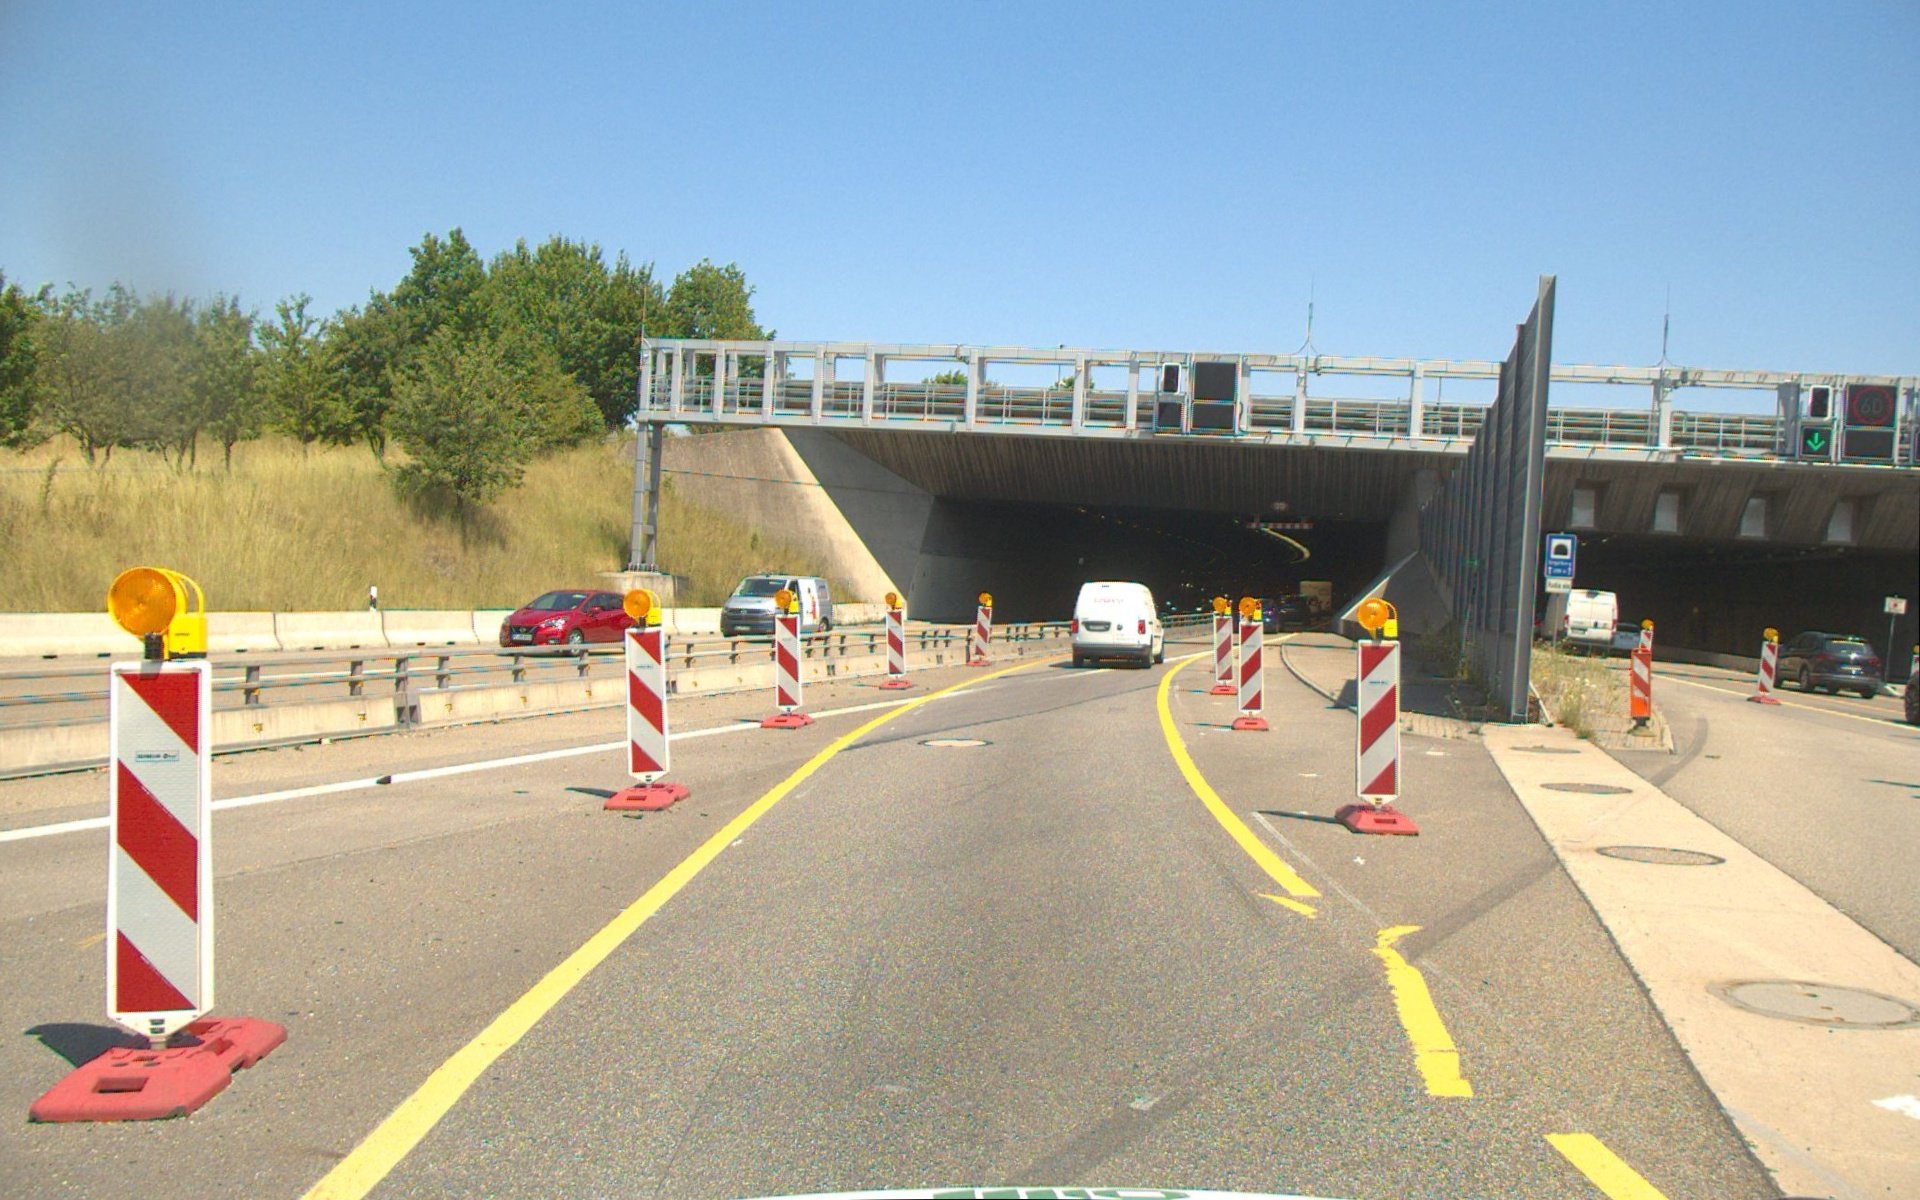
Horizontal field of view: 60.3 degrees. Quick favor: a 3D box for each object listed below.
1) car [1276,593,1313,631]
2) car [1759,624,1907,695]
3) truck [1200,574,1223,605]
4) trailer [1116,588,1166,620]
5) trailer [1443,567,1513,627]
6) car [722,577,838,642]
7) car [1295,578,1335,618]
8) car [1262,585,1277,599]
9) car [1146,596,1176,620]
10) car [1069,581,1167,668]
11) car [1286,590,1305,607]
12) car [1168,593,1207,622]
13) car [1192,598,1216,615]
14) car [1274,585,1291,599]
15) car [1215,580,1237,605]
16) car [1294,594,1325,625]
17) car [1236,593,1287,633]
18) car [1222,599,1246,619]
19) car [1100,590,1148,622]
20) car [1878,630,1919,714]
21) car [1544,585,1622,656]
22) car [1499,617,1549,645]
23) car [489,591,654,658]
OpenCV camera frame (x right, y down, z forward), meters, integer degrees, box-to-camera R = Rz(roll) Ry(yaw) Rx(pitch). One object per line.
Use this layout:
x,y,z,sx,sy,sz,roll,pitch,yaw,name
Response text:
17.566,0.628,86.681,1.770,1.846,4.413,3,0,12,car
24.524,1.627,46.687,1.976,1.691,5.241,4,0,8,car
33.316,-1.433,218.993,2.750,3.984,6.461,1,0,12,truck
10.906,0.230,99.588,1.905,1.837,5.525,0,0,18,trailer
39.357,-0.157,126.222,2.675,4.132,14.106,5,0,9,trailer
-5.382,0.310,50.030,1.652,1.866,4.789,0,-1,18,car
26.529,-0.109,123.370,2.754,2.822,7.106,0,-2,14,car
47.641,-1.239,254.597,2.029,2.056,4.665,1,0,6,car
15.258,0.589,125.246,1.736,1.695,4.811,0,0,13,car
3.573,0.527,36.922,1.770,1.825,3.734,1,0,12,car
42.217,-0.180,208.332,1.898,2.056,4.665,1,0,6,car
13.246,0.414,96.133,1.736,1.621,4.990,0,0,14,car
21.930,0.567,148.567,1.736,1.542,4.568,0,0,13,car
45.726,-1.133,234.666,2.029,2.056,4.665,1,0,6,car
27.978,-0.763,173.750,1.951,2.559,6.047,0,0,12,car
21.682,0.602,102.666,1.770,1.781,4.413,3,0,12,car
12.963,0.551,71.010,1.770,1.564,4.413,3,0,15,car
23.201,0.730,139.953,1.736,1.605,4.450,0,0,12,car
9.395,0.320,94.694,1.736,1.757,4.870,0,0,18,car
18.549,1.420,29.542,1.952,1.511,4.680,5,1,5,car
25.542,0.849,68.041,2.218,2.580,6.589,4,0,15,car
33.733,1.840,99.057,1.777,1.490,4.655,5,0,6,car
-8.694,0.541,37.336,1.652,1.419,4.000,0,-1,21,car
